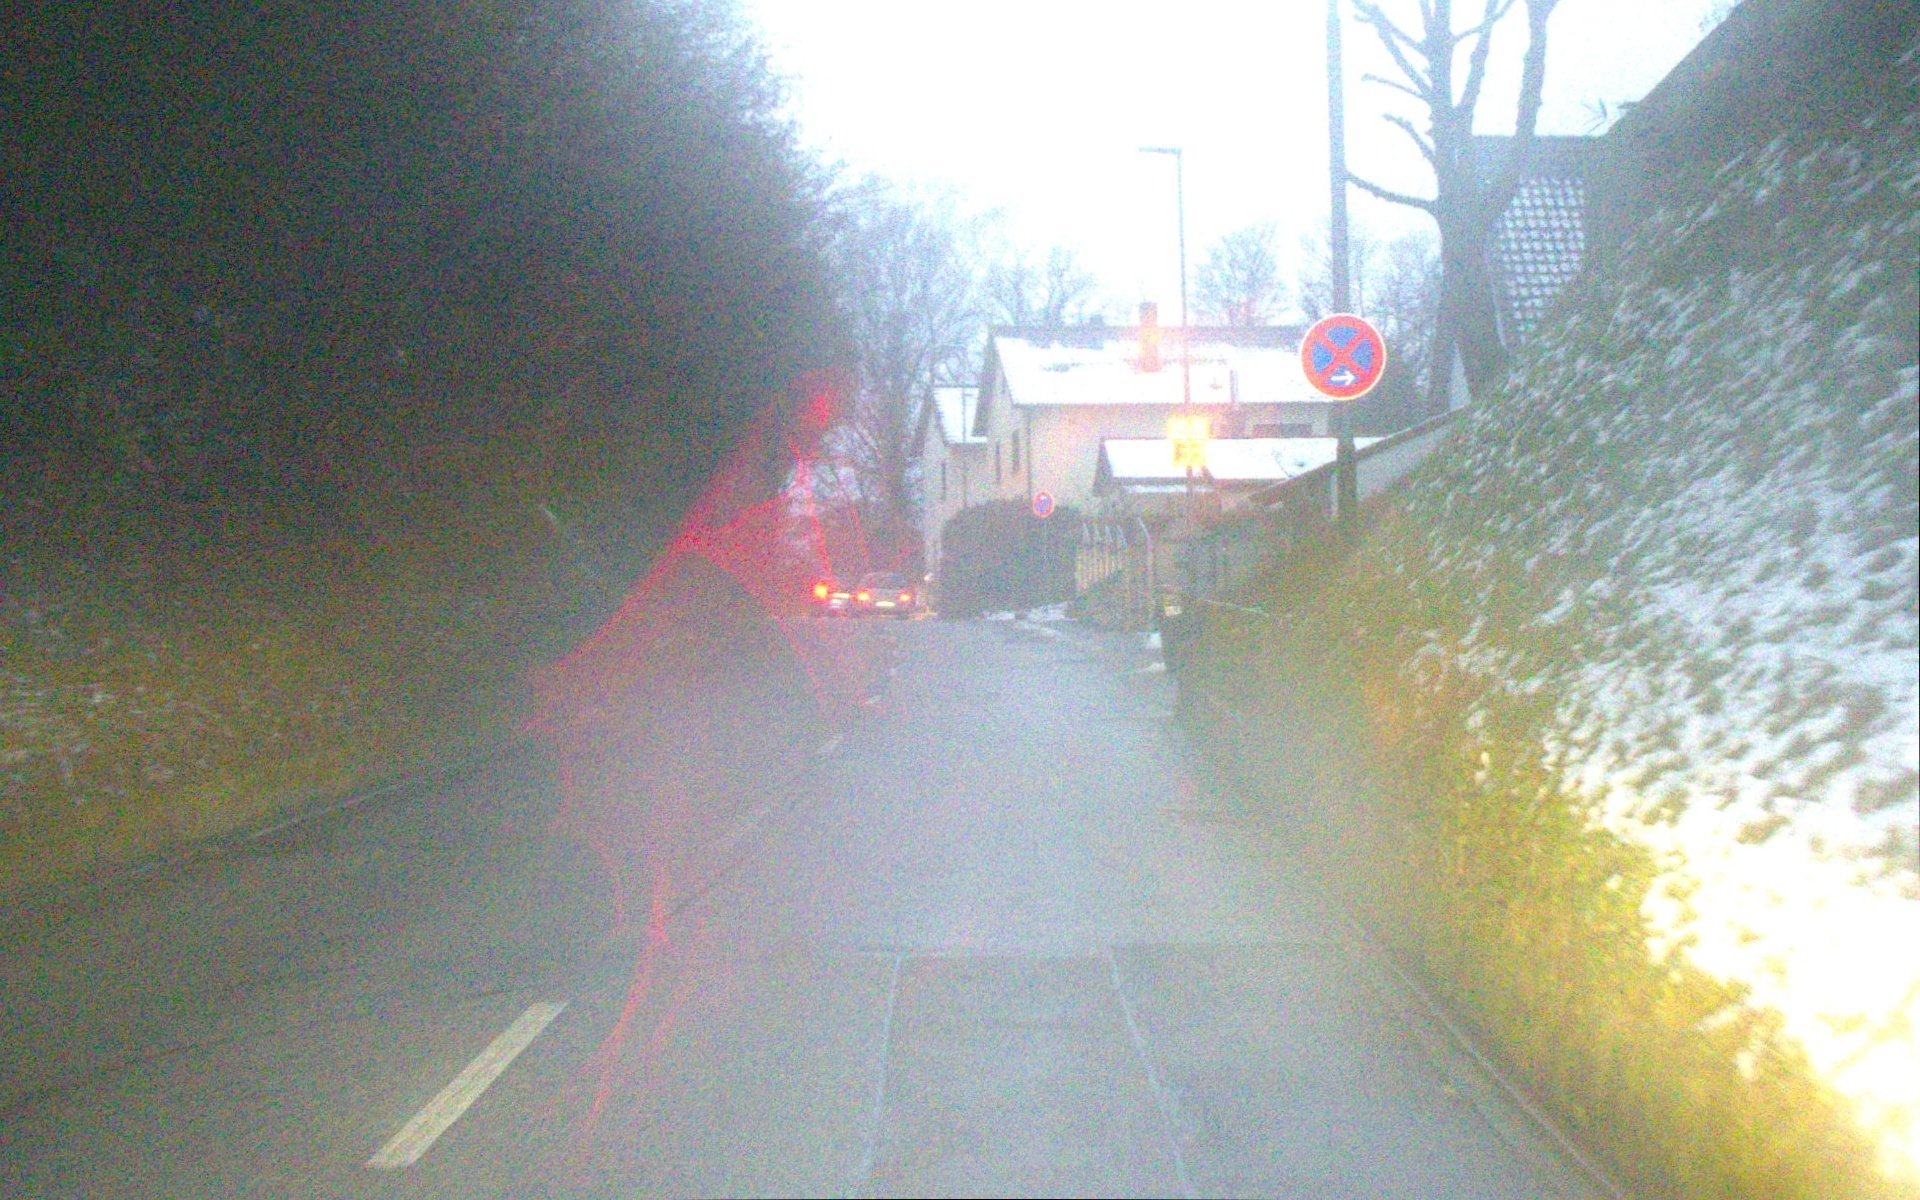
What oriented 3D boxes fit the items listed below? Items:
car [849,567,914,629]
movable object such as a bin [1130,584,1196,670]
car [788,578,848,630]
[{"bbox_3d":[-2.389,-0.050,105.383,1.805,1.732,4.000,2,-1,1],"label":"car"},{"bbox_3d":[2.463,0.335,41.573,0.685,1.000,0.856,-2,-2,9],"label":"movable object such as a bin"},{"bbox_3d":[-4.885,0.157,118.420,1.805,1.612,4.000,2,-1,1],"label":"car"}]
